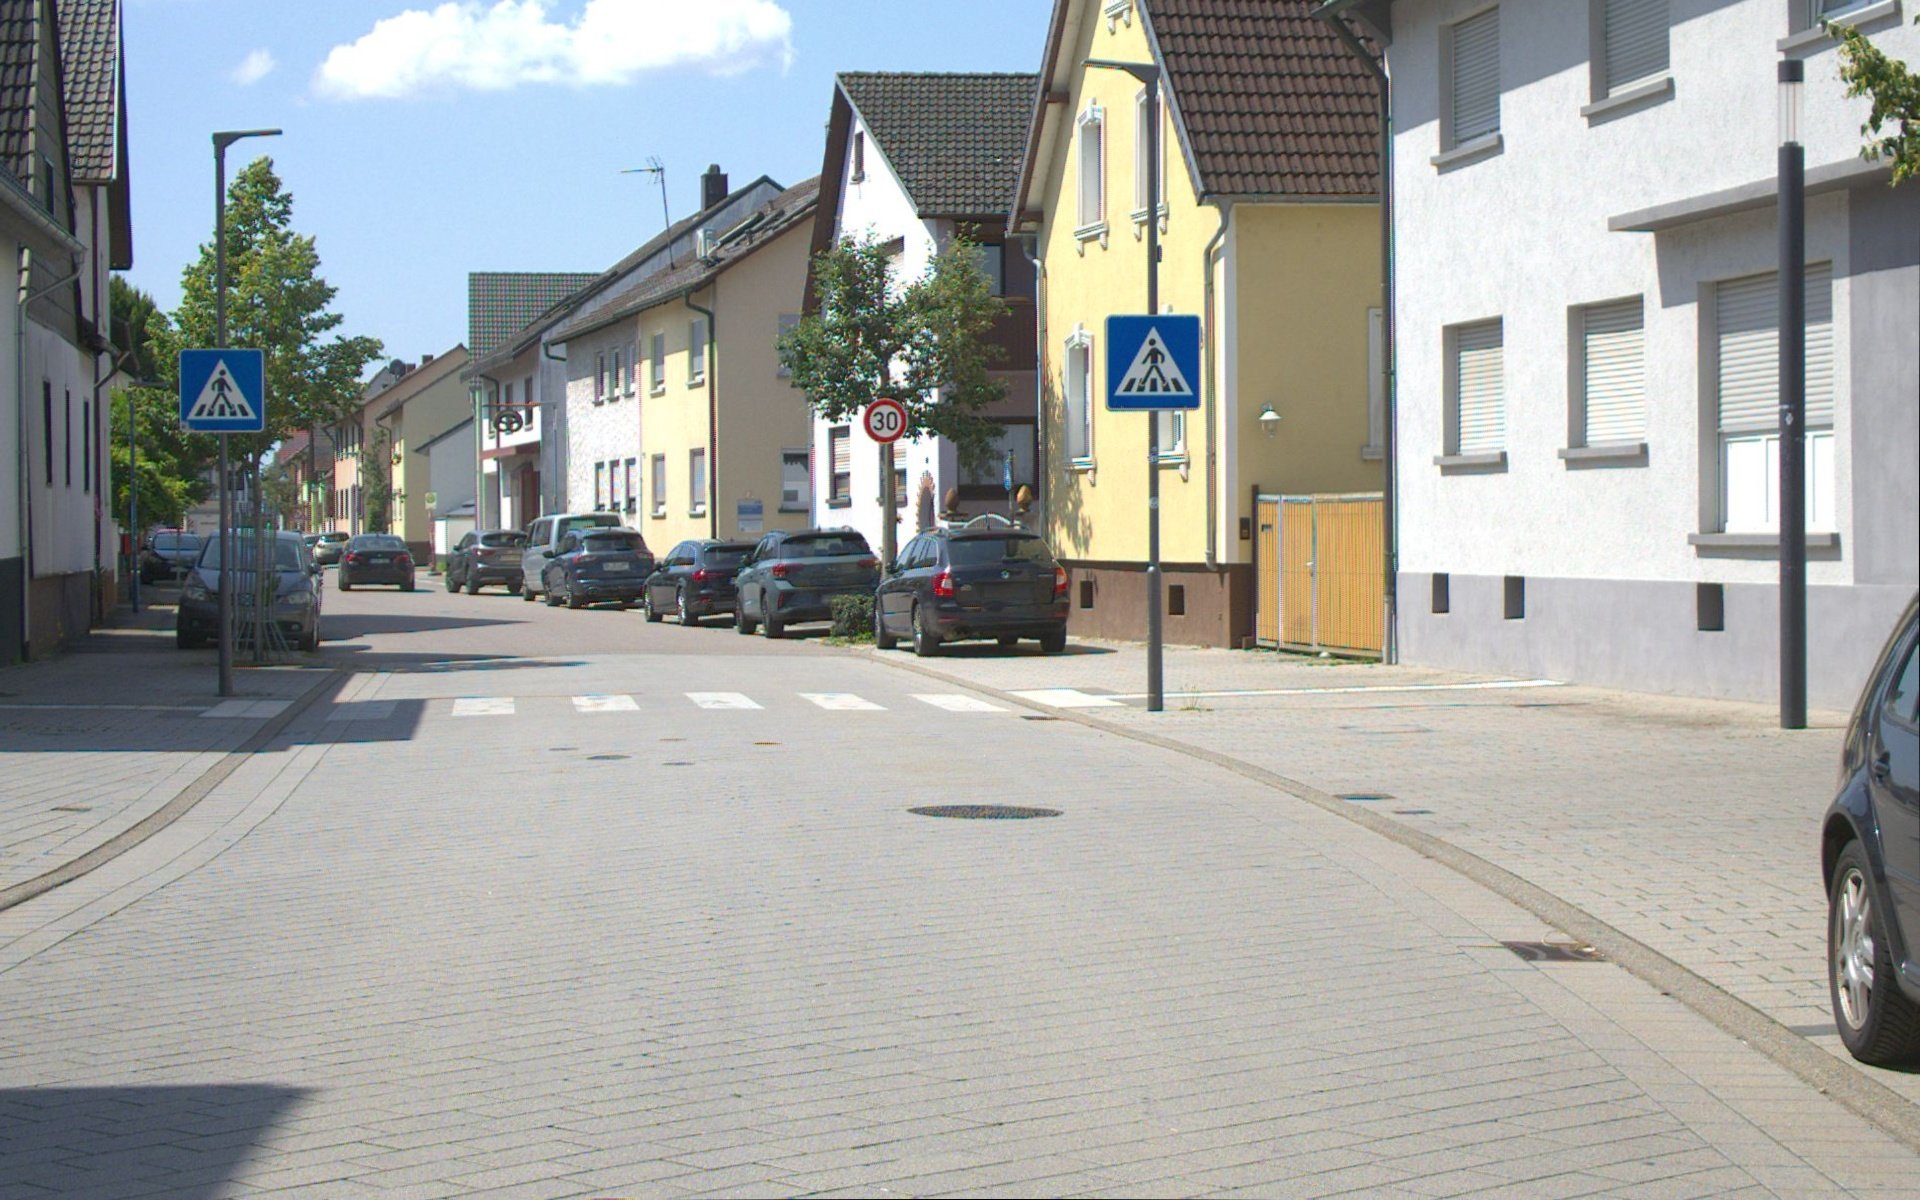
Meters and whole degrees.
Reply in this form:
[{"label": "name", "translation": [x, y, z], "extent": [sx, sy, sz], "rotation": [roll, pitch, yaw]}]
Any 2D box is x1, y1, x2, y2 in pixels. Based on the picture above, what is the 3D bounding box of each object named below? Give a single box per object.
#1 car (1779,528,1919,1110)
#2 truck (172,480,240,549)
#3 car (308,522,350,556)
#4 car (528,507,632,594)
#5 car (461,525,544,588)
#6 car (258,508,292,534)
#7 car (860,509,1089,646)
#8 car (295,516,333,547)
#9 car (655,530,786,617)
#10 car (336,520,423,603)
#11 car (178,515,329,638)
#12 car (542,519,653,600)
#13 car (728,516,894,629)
[{"label": "car", "translation": [3.252, 0.553, 7.902], "extent": [1.759, 1.433, 4.120], "rotation": [-1, 2, 1]}, {"label": "truck", "translation": [-44.649, -5.074, 203.304], "extent": [3.563, 3.940, 8.584], "rotation": [-1, 2, -14]}, {"label": "car", "translation": [-27.577, -2.672, 150.226], "extent": [1.687, 1.447, 3.794], "rotation": [-1, 2, -12]}, {"label": "car", "translation": [-8.523, -1.136, 76.914], "extent": [1.906, 1.865, 4.001], "rotation": [-1, 2, -12]}, {"label": "car", "translation": [-11.430, -1.107, 85.690], "extent": [1.753, 1.487, 4.001], "rotation": [-1, 2, -12]}, {"label": "car", "translation": [-39.066, -4.534, 196.044], "extent": [1.687, 1.447, 3.794], "rotation": [-1, 2, -14]}, {"label": "car", "translation": [0.110, -0.291, 41.087], "extent": [1.828, 1.466, 4.277], "rotation": [-3, 2, -12]}, {"label": "car", "translation": [-30.745, -3.271, 163.511], "extent": [1.687, 1.447, 3.794], "rotation": [-1, 2, -12]}, {"label": "car", "translation": [-4.072, -0.473, 57.976], "extent": [1.710, 1.382, 3.707], "rotation": [-1, 2, -12]}, {"label": "car", "translation": [-15.009, -1.014, 88.729], "extent": [1.993, 2.050, 4.375], "rotation": [-1, 2, -12]}, {"label": "car", "translation": [-9.281, -0.348, 45.401], "extent": [1.746, 1.525, 4.001], "rotation": [1, 1, -9]}, {"label": "car", "translation": [-7.553, -0.868, 71.343], "extent": [1.877, 1.585, 4.001], "rotation": [-1, 2, -12]}, {"label": "car", "translation": [-2.223, -0.436, 50.489], "extent": [1.846, 1.557, 3.695], "rotation": [-1, 2, -12]}]
